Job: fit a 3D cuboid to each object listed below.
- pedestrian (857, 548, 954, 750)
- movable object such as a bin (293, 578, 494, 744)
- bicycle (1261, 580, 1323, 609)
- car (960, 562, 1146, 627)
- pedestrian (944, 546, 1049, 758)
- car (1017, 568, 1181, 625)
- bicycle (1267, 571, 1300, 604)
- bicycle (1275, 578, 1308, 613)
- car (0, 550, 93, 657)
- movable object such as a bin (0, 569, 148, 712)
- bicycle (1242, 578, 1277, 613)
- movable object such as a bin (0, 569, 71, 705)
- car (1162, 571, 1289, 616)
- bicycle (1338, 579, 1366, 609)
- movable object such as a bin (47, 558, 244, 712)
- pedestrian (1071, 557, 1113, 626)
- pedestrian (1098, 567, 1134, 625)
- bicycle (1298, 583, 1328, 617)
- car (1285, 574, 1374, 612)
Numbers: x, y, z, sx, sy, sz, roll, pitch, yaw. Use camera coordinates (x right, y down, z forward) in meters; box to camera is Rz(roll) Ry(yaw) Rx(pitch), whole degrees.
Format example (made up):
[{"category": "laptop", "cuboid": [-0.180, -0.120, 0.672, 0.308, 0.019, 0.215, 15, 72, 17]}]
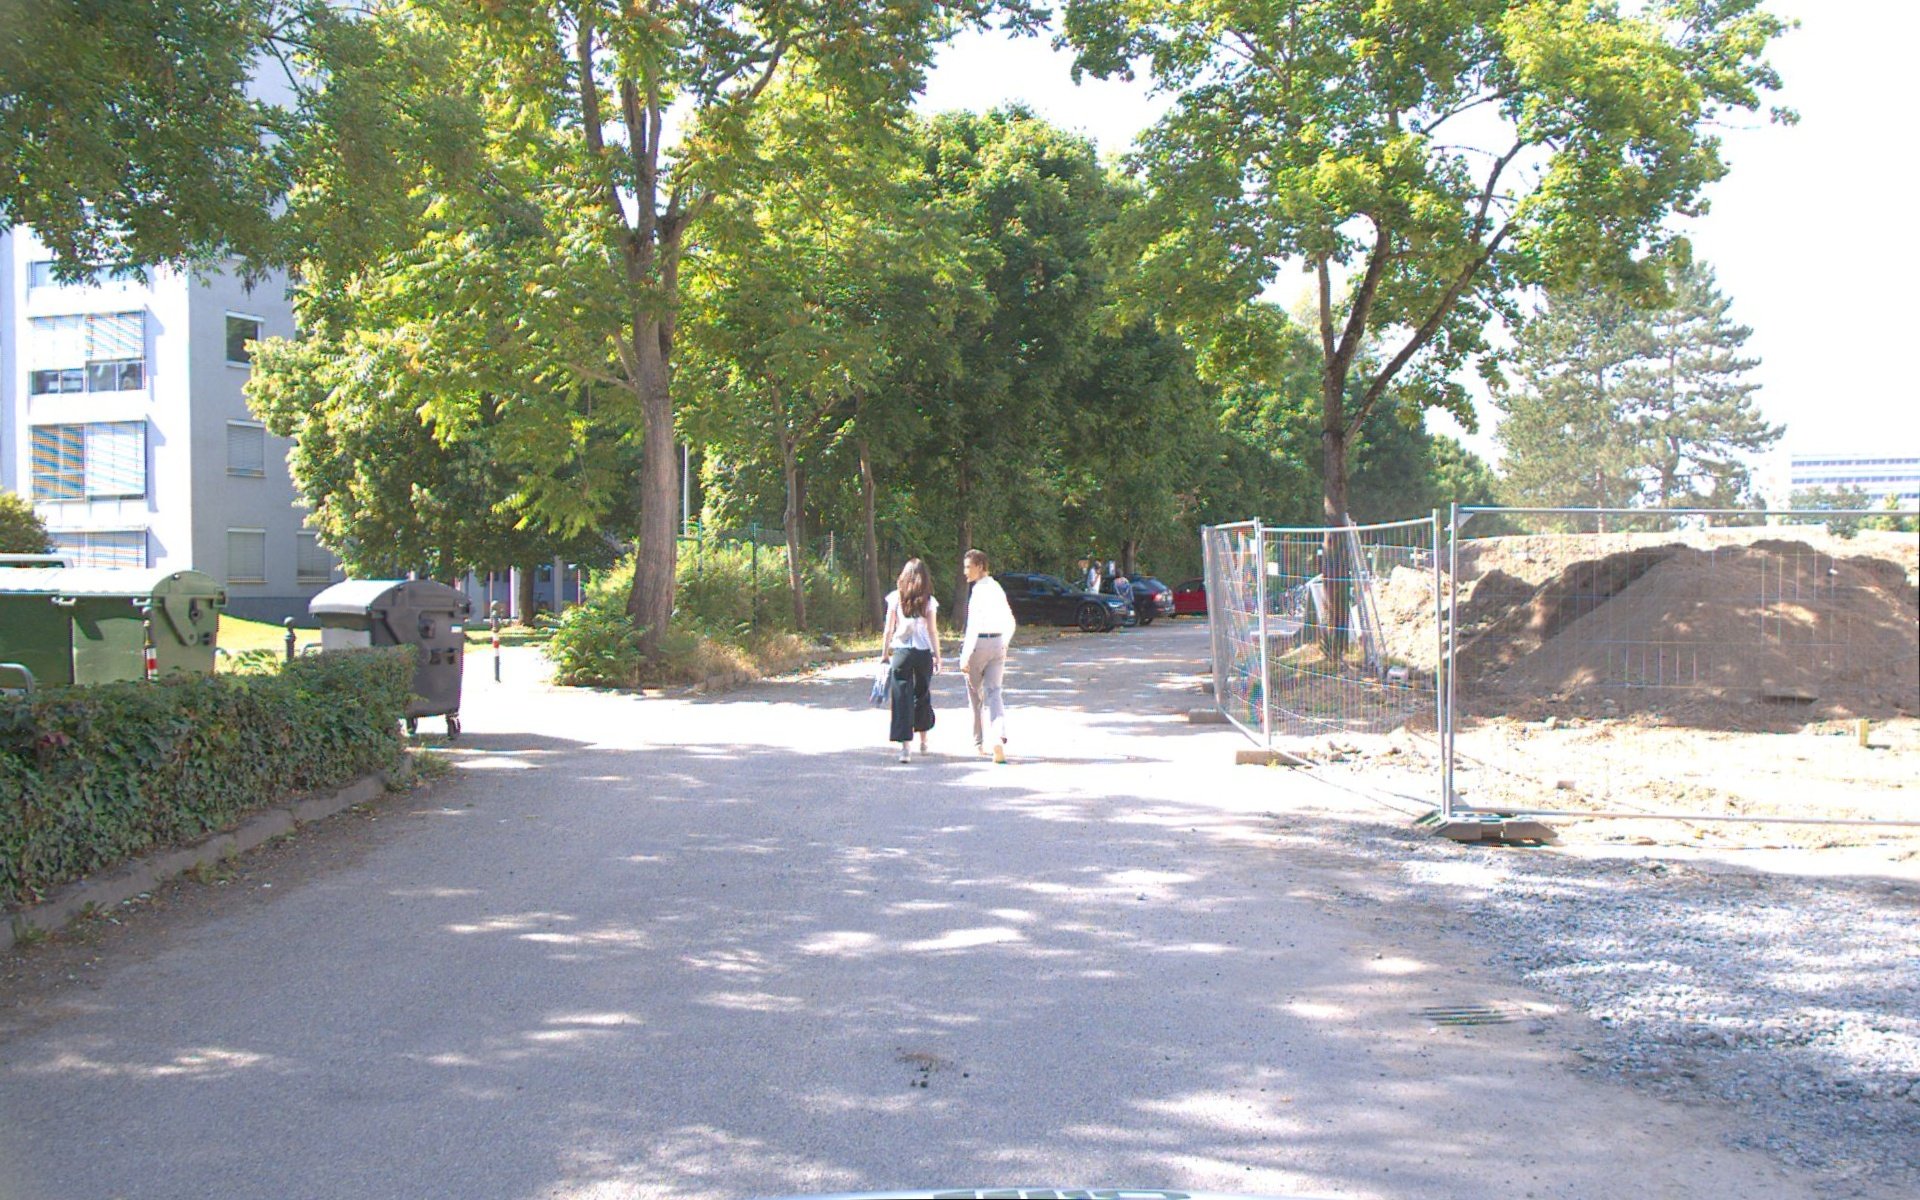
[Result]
[{"category": "pedestrian", "cuboid": [-0.472, 0.391, 14.128, 0.722, 1.668, 0.779, 0, 2, -11]}, {"category": "movable object such as a bin", "cuboid": [-5.216, 0.520, 15.225, 1.379, 1.421, 1.241, 0, 1, 42]}, {"category": "bicycle", "cuboid": [14.779, -0.249, 73.666, 2.619, 1.306, 0.819, 0, 1, 17]}, {"category": "car", "cuboid": [2.458, -0.171, 43.254, 4.557, 1.612, 2.002, 0, 2, 15]}, {"category": "pedestrian", "cuboid": [0.301, 0.416, 14.172, 0.741, 1.758, 0.852, 0, 2, -11]}, {"category": "car", "cuboid": [4.126, -0.130, 48.939, 4.557, 1.612, 2.002, 0, 2, 15]}, {"category": "bicycle", "cuboid": [13.348, -0.522, 68.221, 0.800, 1.306, 2.683, 0, 1, 23]}, {"category": "bicycle", "cuboid": [12.517, -0.191, 62.422, 0.700, 1.306, 2.683, 0, 1, 23]}, {"category": "car", "cuboid": [-18.848, 0.075, 30.391, 1.954, 1.967, 5.037, 0, 1, 25]}, {"category": "movable object such as a bin", "cuboid": [-9.590, 0.409, 17.579, 1.193, 1.456, 1.249, 0, 1, 13]}, {"category": "bicycle", "cuboid": [11.533, -0.197, 63.623, 0.700, 1.306, 2.790, 0, 1, 23]}, {"category": "movable object such as a bin", "cuboid": [-10.803, 0.395, 18.189, 1.334, 1.456, 1.248, 0, 1, 23]}, {"category": "car", "cuboid": [9.577, -0.249, 59.606, 4.198, 1.550, 1.892, 0, 1, 22]}, {"category": "bicycle", "cuboid": [17.408, -0.290, 73.414, 0.800, 1.306, 2.746, 0, 1, 23]}, {"category": "movable object such as a bin", "cuboid": [-8.343, 0.333, 16.999, 1.306, 1.507, 1.249, 0, 1, 18]}, {"category": "pedestrian", "cuboid": [3.560, -0.234, 44.469, 0.992, 1.812, 0.820, 0, 1, 15]}, {"category": "pedestrian", "cuboid": [4.457, -0.123, 47.336, 0.905, 1.623, 0.786, 0, 2, 15]}, {"category": "bicycle", "cuboid": [14.229, -0.004, 66.577, 0.700, 1.306, 2.636, 0, 1, 23]}, {"category": "car", "cuboid": [17.949, -0.347, 80.396, 3.909, 1.802, 1.766, 0, 1, 26]}]
